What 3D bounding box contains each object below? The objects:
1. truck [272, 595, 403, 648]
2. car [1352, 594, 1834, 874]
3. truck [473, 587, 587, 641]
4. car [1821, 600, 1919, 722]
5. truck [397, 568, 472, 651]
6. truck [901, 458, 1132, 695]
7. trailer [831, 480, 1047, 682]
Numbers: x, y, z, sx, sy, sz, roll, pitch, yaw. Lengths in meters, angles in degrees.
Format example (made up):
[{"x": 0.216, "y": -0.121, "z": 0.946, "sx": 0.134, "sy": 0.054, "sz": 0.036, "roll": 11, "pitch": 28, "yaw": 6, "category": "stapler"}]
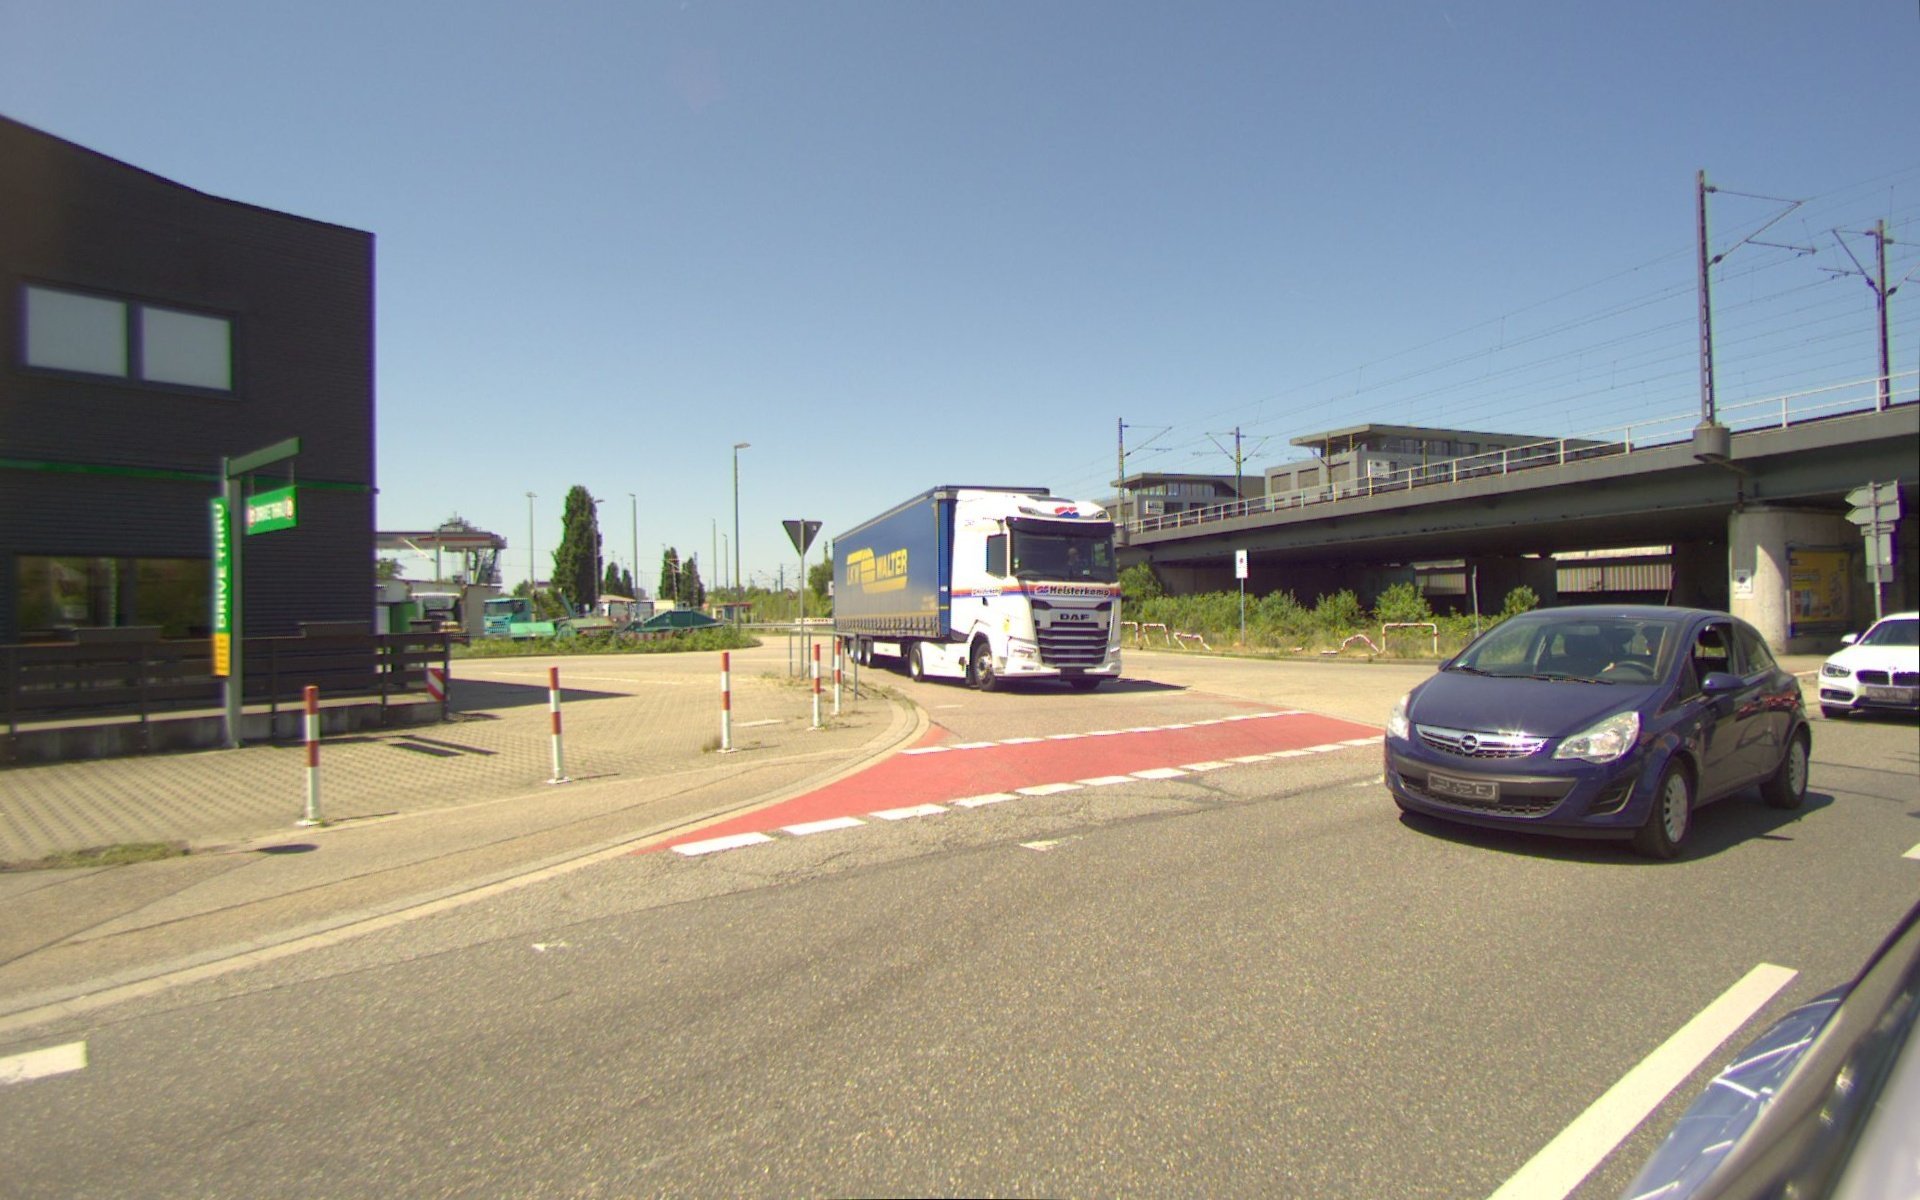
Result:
[{"x": -35.437, "y": 1.144, "z": 57.869, "sx": 2.620, "sy": 2.825, "sz": 6.065, "roll": 0, "pitch": 0, "yaw": 22, "category": "truck"}, {"x": 4.576, "y": 0.721, "z": 7.125, "sx": 3.819, "sy": 1.462, "sz": 1.650, "roll": 1, "pitch": -1, "yaw": -37, "category": "car"}, {"x": -28.498, "y": 0.879, "z": 67.481, "sx": 2.766, "sy": 3.411, "sz": 7.513, "roll": 0, "pitch": 0, "yaw": 18, "category": "truck"}, {"x": 13.311, "y": 0.772, "z": 13.527, "sx": 3.975, "sy": 1.461, "sz": 1.764, "roll": 1, "pitch": 1, "yaw": -35, "category": "car"}, {"x": -23.877, "y": 0.421, "z": 45.816, "sx": 2.667, "sy": 3.424, "sz": 7.409, "roll": 0, "pitch": -1, "yaw": -30, "category": "truck"}, {"x": 0.918, "y": -0.429, "z": 20.932, "sx": 2.522, "sy": 4.153, "sz": 5.773, "roll": 0, "pitch": 0, "yaw": -23, "category": "truck"}, {"x": -1.265, "y": -0.309, "z": 27.761, "sx": 2.447, "sy": 4.143, "sz": 13.931, "roll": 0, "pitch": -1, "yaw": -16, "category": "trailer"}]
